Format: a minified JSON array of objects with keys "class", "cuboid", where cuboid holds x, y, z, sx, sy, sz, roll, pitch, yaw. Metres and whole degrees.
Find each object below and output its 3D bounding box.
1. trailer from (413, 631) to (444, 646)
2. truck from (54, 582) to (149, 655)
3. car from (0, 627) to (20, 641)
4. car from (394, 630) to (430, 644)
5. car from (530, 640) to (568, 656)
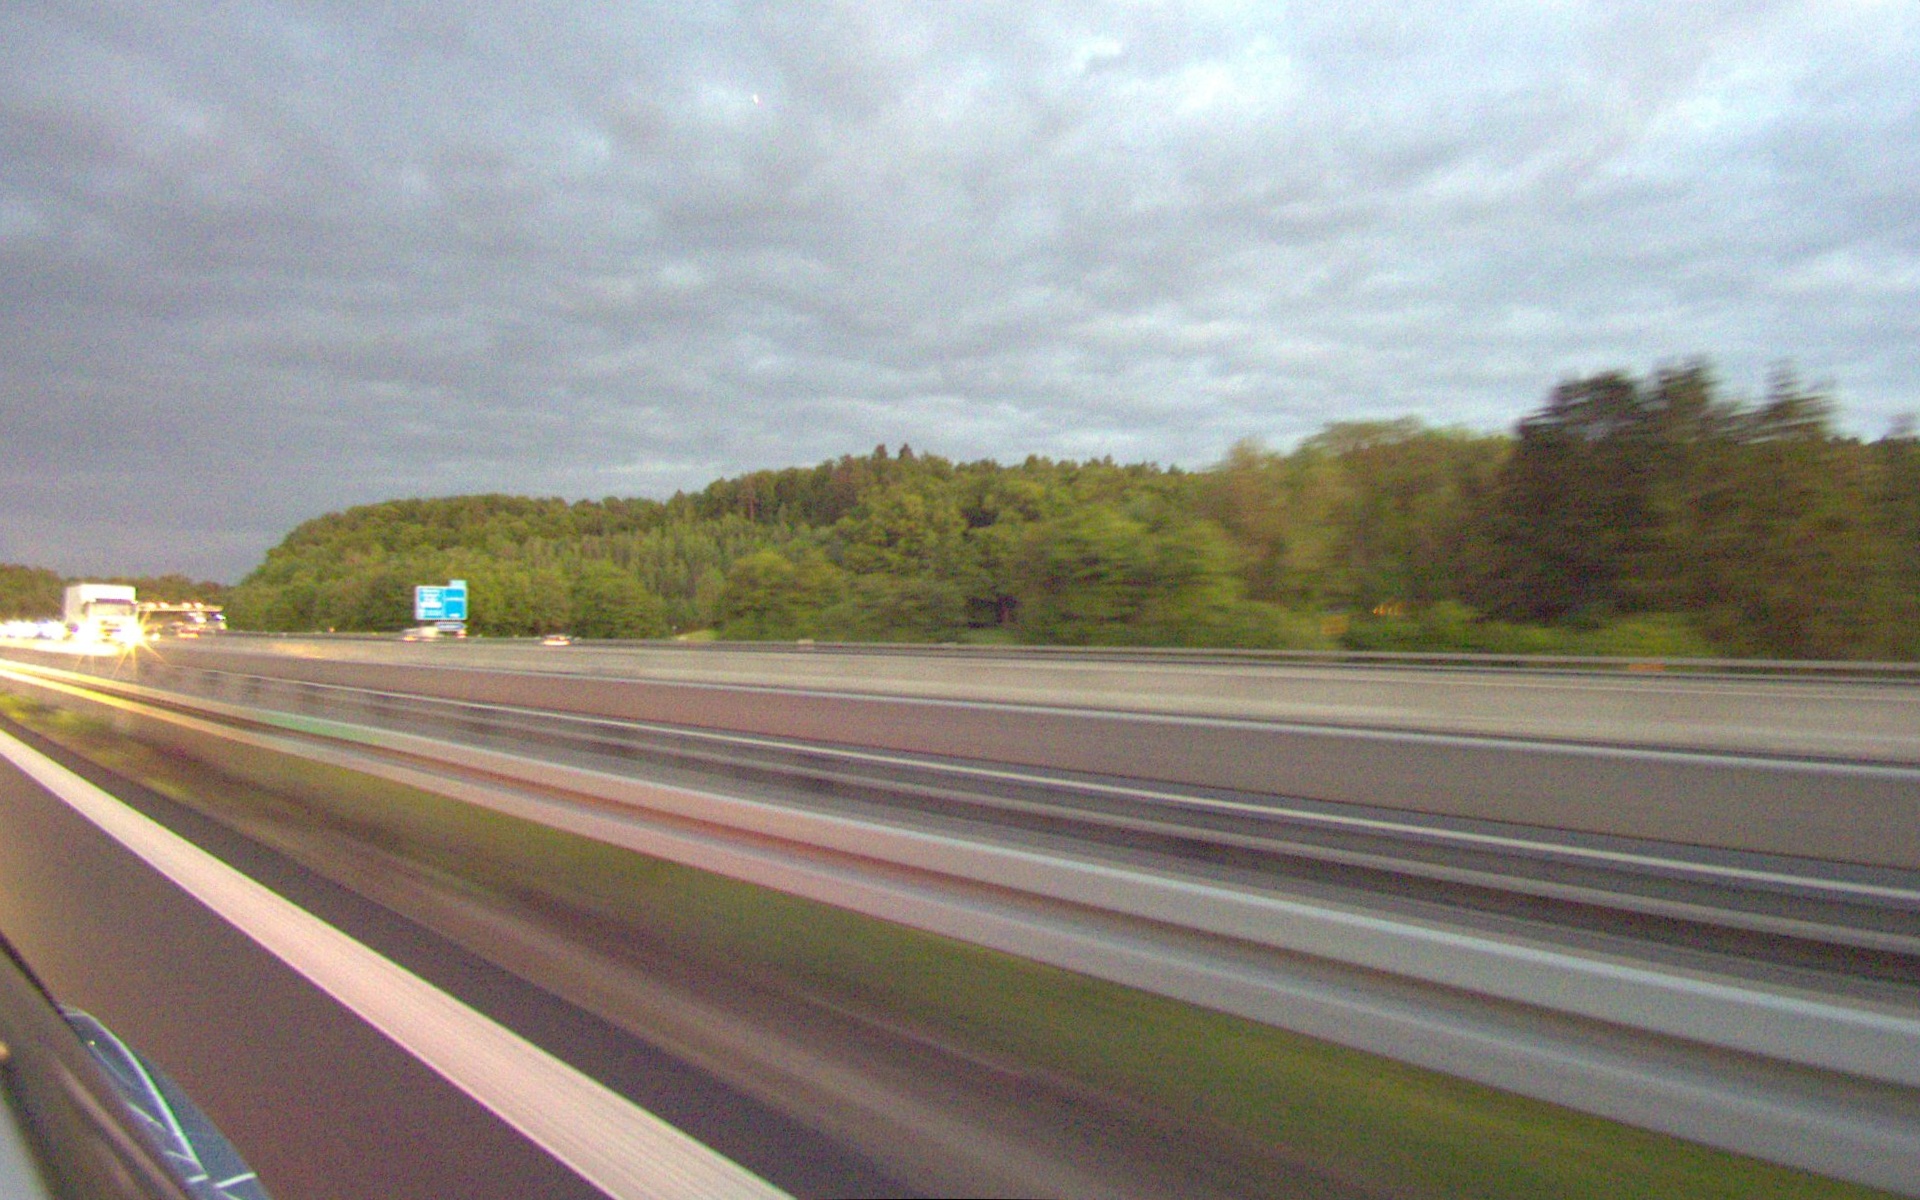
[{"class":"trailer","cuboid":[-55.791,4.015,106.265,3.595,1.608,1.520,-1,-3,38]},{"class":"truck","cuboid":[-54.604,1.171,64.267,9.886,4.334,3.006,-1,-2,41]},{"class":"car","cuboid":[-118.156,4.196,125.850,1.808,1.696,4.231,0,-1,-45]},{"class":"car","cuboid":[-58.923,3.963,108.844,4.461,1.454,1.818,-1,-3,39]},{"class":"car","cuboid":[-40.961,4.756,100.807,4.307,1.608,1.748,-1,-3,41]}]
